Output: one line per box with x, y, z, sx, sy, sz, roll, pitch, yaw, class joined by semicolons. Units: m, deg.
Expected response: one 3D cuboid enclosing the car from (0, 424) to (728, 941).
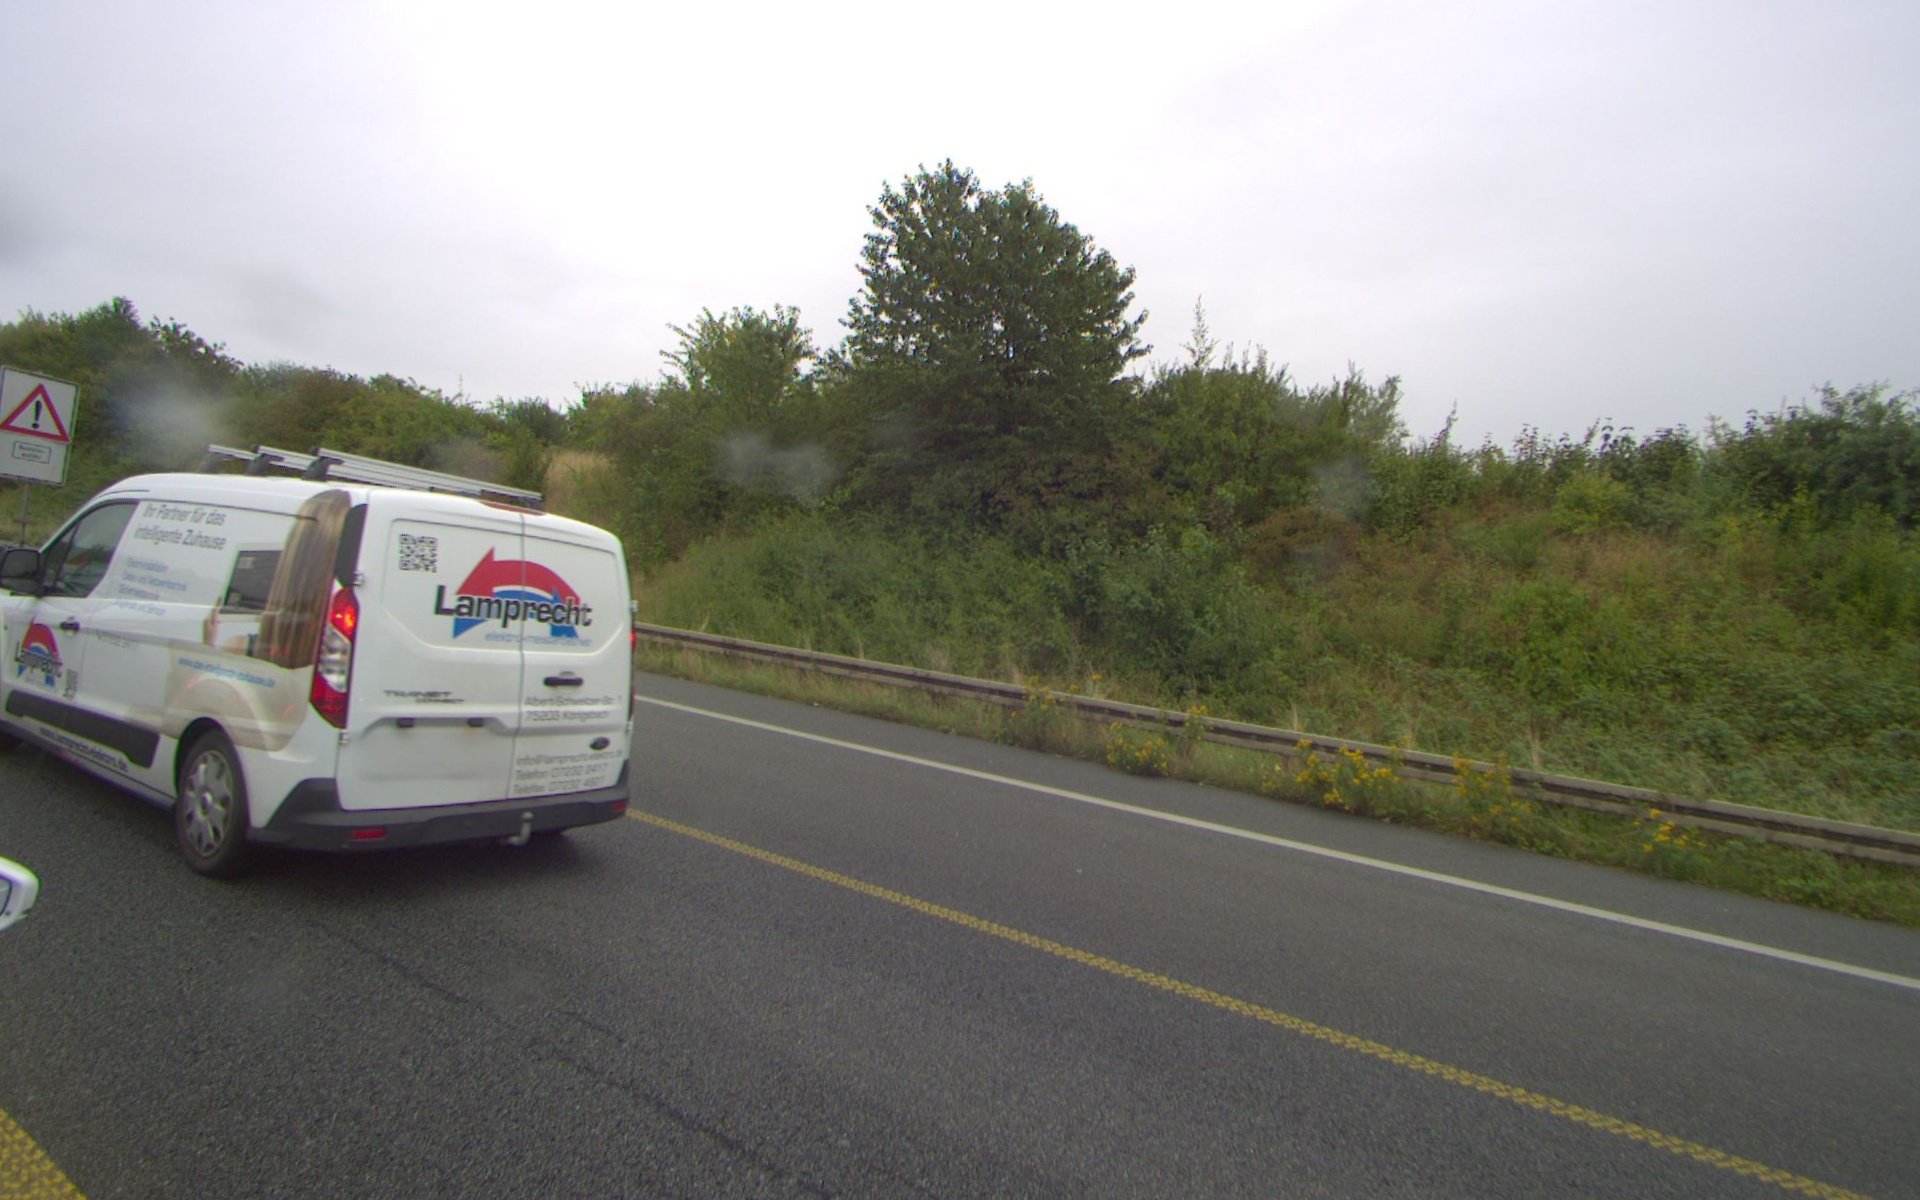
-3.715;0.169;5.648;4.578;1.861;1.832;7;-1;32;car
